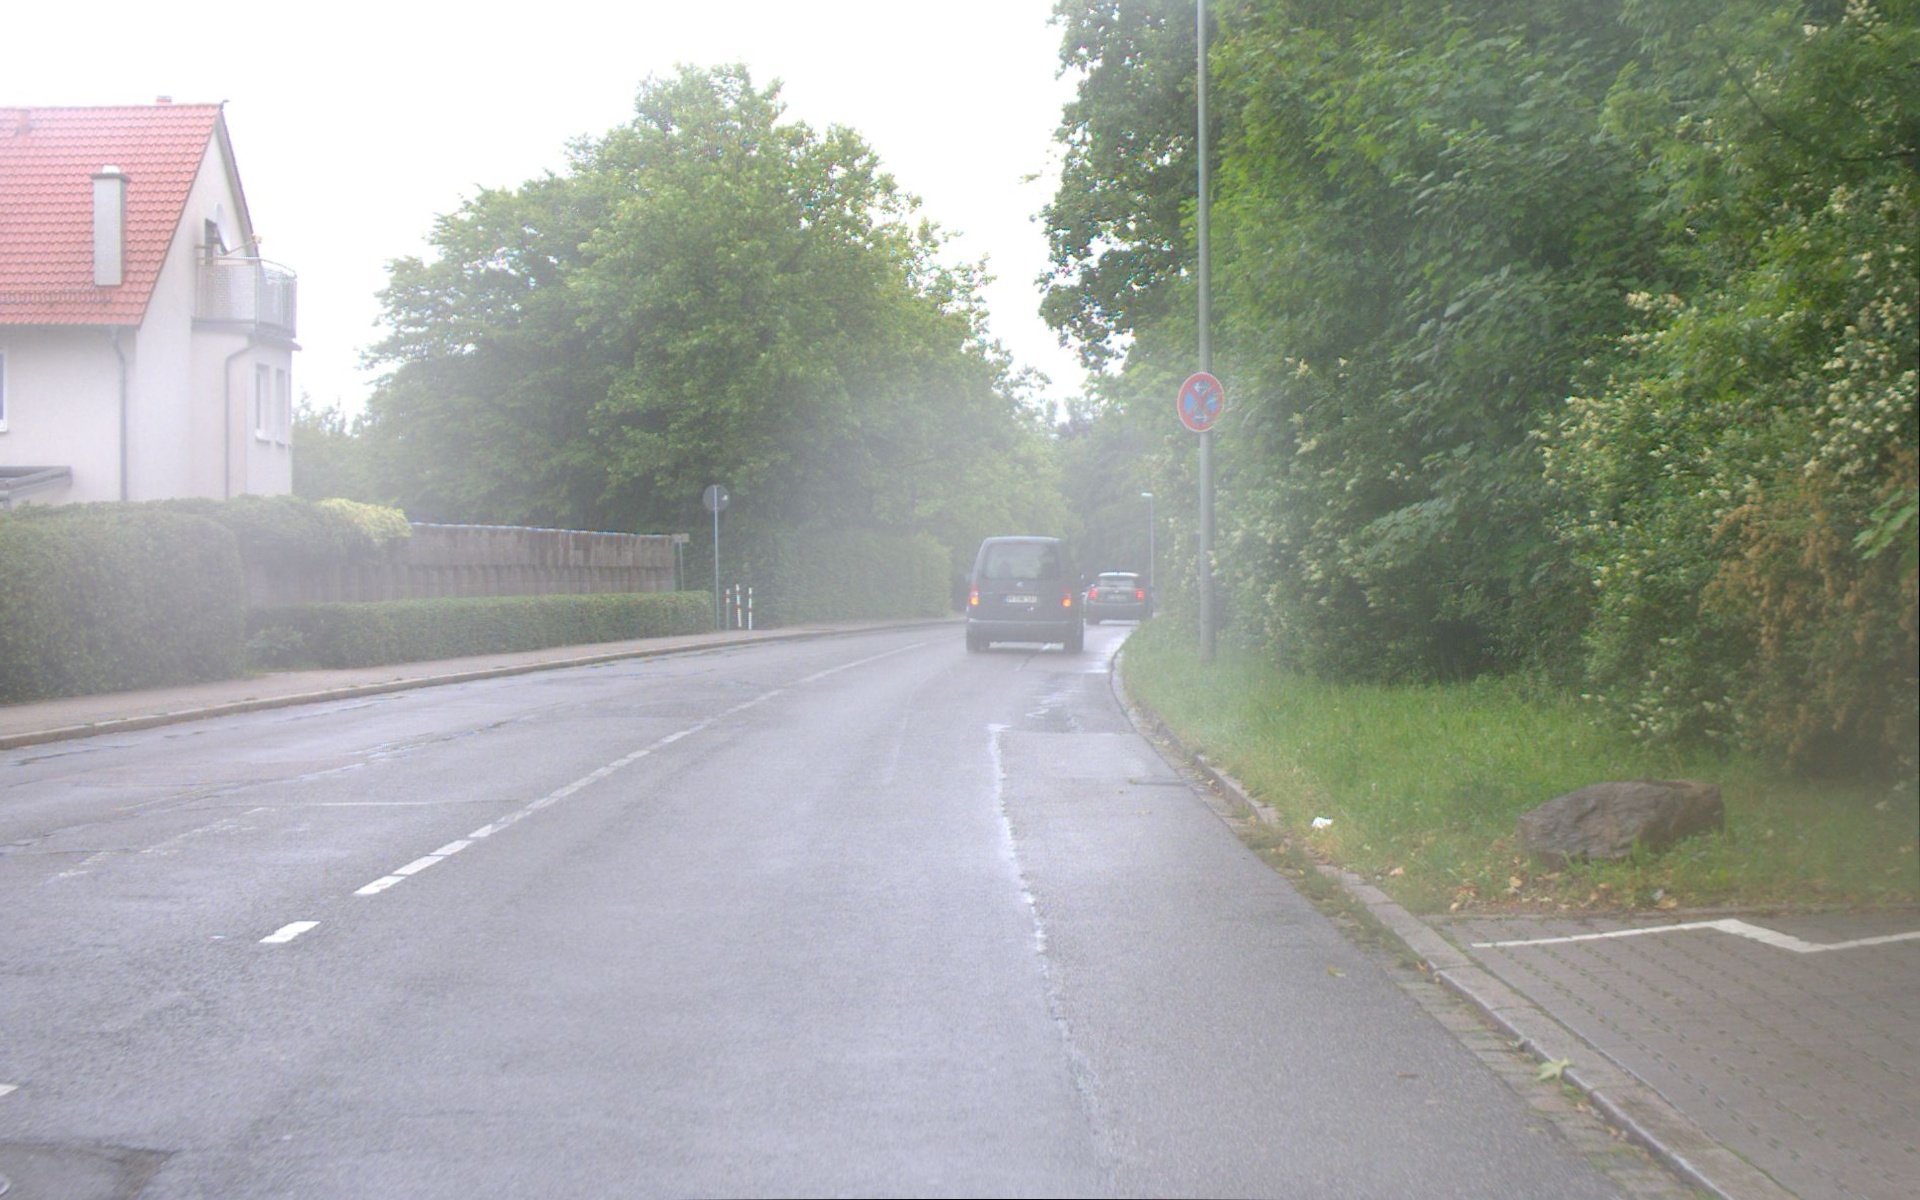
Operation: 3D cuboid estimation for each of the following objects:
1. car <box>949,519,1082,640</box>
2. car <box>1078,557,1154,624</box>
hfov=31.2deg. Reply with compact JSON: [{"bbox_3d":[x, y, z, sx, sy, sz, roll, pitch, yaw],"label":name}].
[{"bbox_3d":[0.916,-0.361,55.020,1.993,1.787,4.000,2,1,2],"label":"car"},{"bbox_3d":[4.345,-0.286,95.293,1.950,1.744,4.000,0,1,5],"label":"car"}]
